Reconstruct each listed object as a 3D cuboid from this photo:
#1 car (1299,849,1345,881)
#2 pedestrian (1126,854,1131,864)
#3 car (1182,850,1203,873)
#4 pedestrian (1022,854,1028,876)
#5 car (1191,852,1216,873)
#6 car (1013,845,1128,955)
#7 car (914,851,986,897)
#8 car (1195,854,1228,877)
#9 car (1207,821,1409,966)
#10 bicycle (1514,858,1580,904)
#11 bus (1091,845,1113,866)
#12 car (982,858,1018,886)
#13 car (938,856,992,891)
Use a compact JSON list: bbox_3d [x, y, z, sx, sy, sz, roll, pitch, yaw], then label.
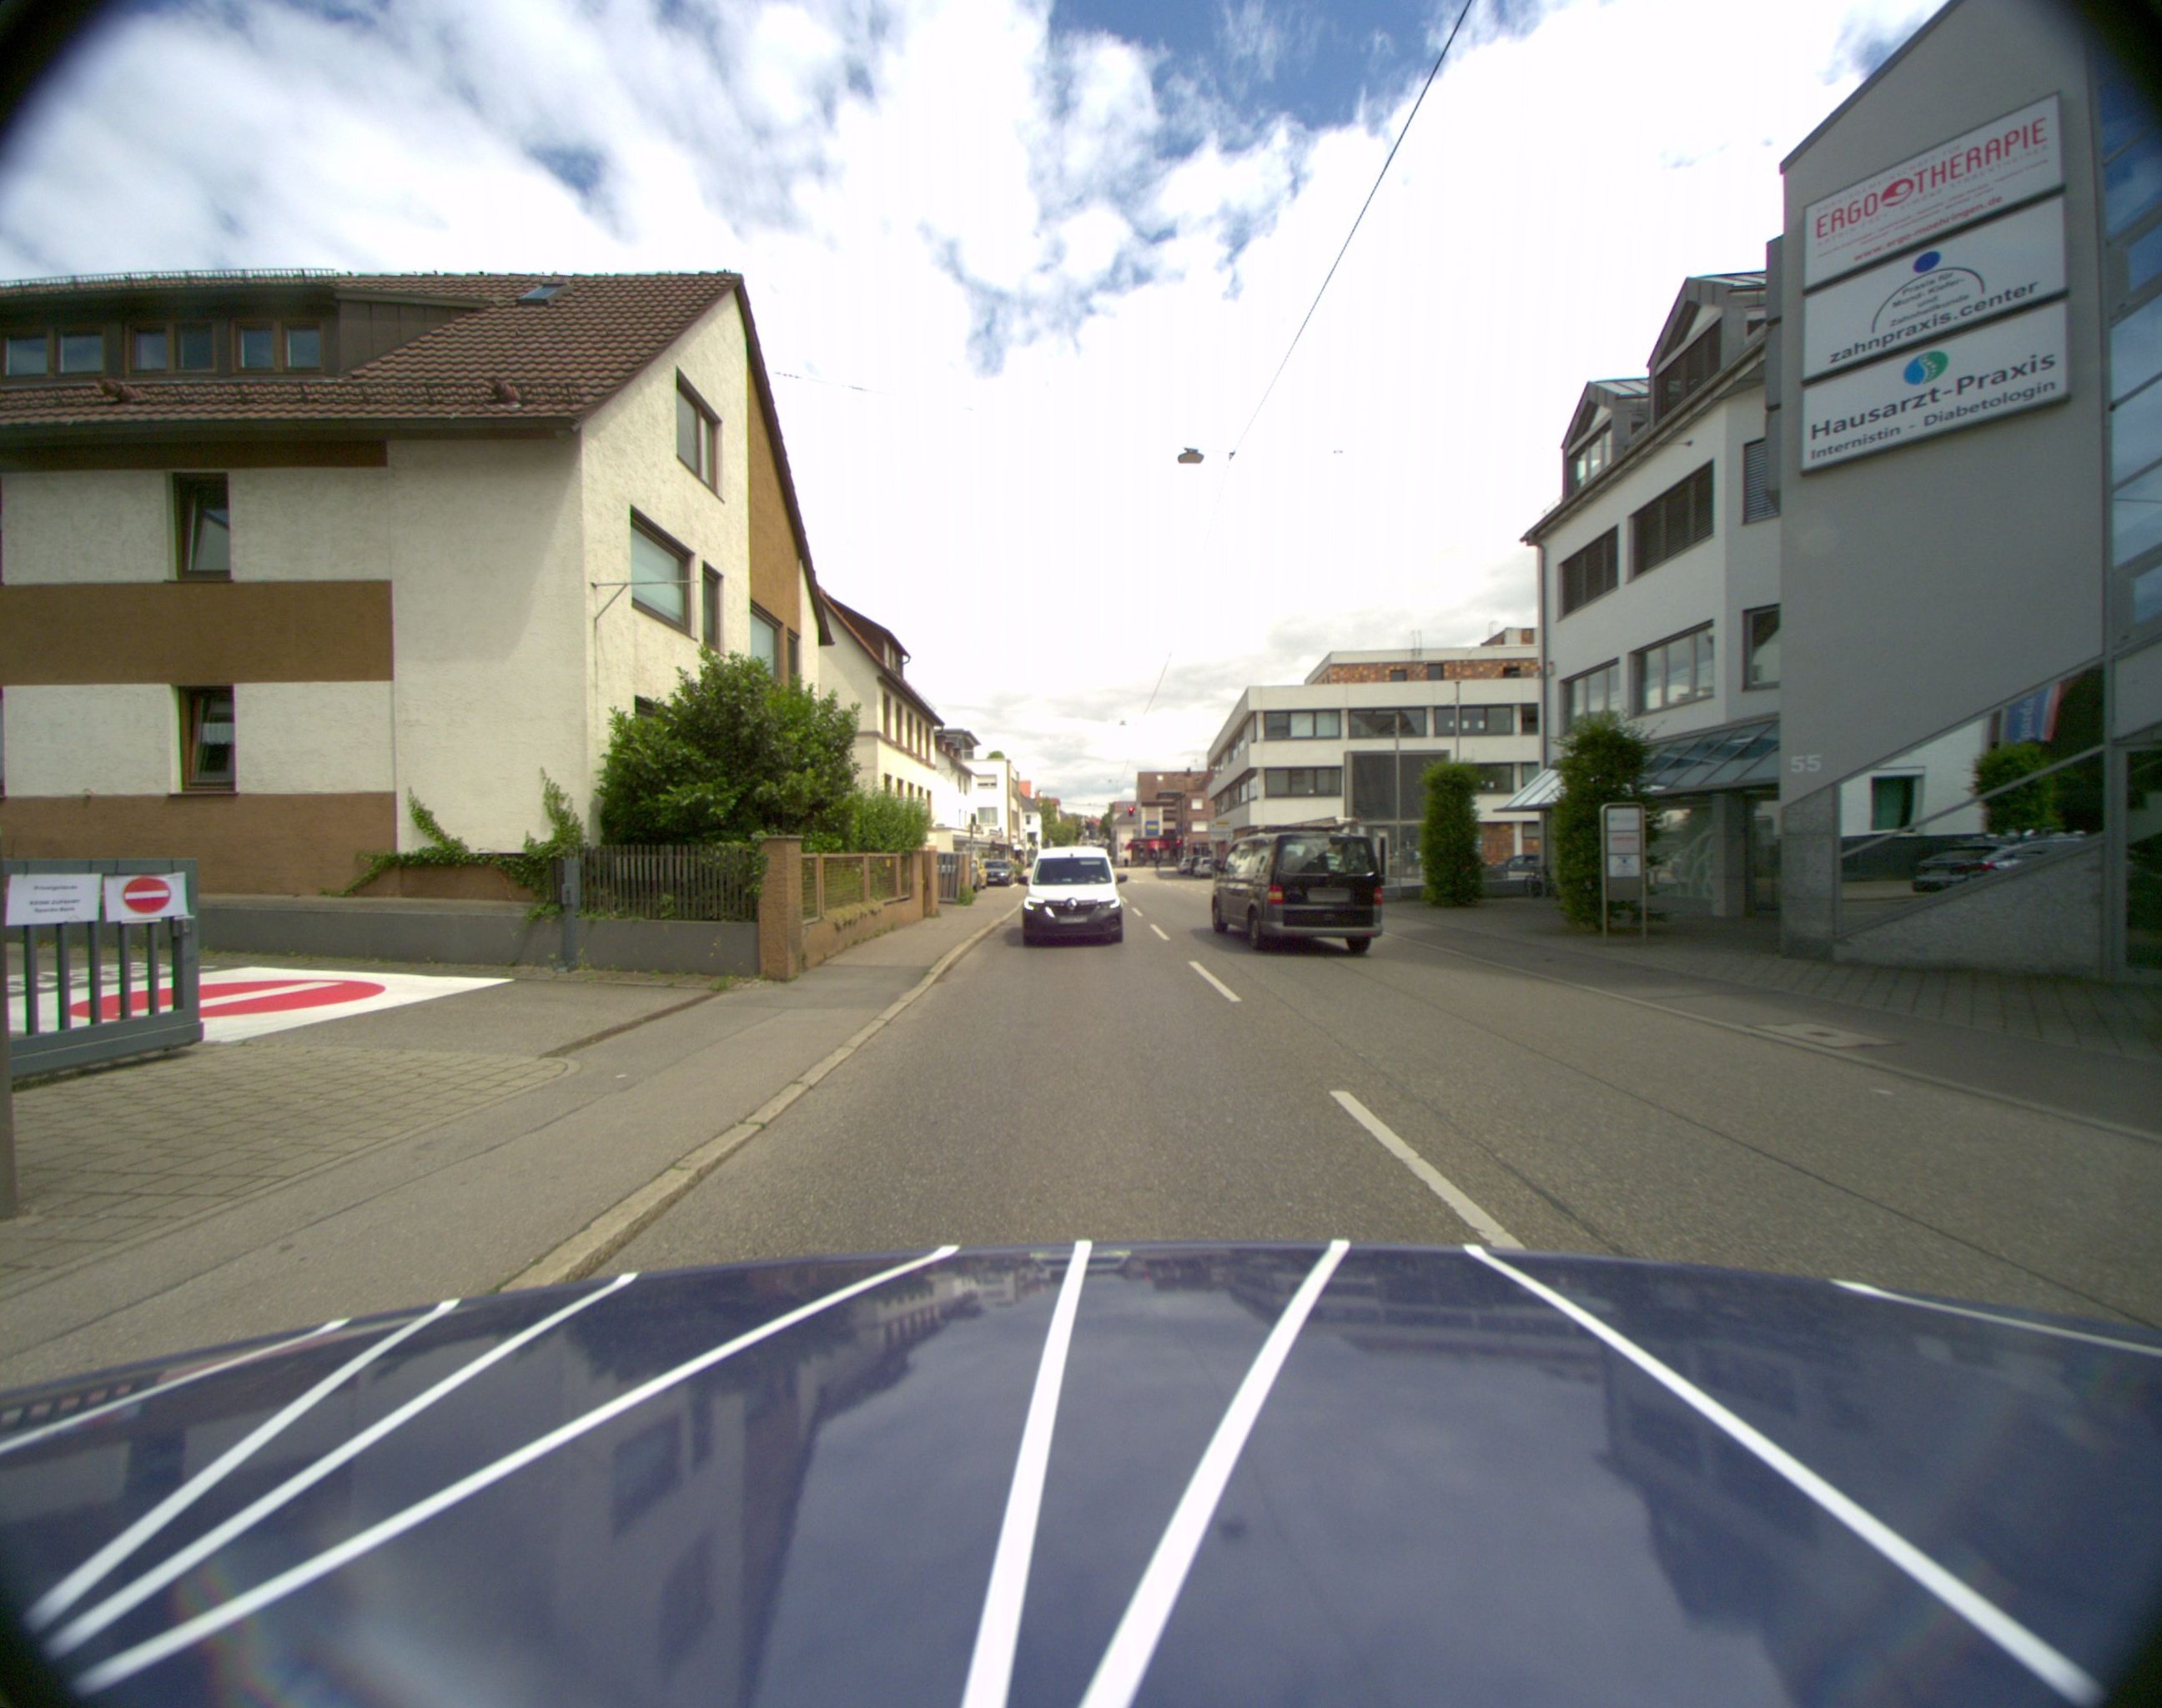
[{"bbox_3d":[13.917,0.593,44.067,1.896,1.687,3.802,1,1,7],"label":"car"},{"bbox_3d":[7.013,0.686,111.776,0.669,1.424,0.778,0,1,5],"label":"pedestrian"},{"bbox_3d":[9.616,0.624,65.661,1.701,1.766,4.463,-2,1,8],"label":"car"},{"bbox_3d":[-5.132,0.983,69.916,0.476,2.010,0.918,0,1,1],"label":"pedestrian"},{"bbox_3d":[9.738,0.674,60.586,1.808,1.521,4.002,-2,1,8],"label":"car"},{"bbox_3d":[-0.105,0.743,15.306,1.870,1.805,5.006,-2,1,2],"label":"car"},{"bbox_3d":[-4.866,0.701,28.760,1.999,1.609,4.100,0,0,0],"label":"car"},{"bbox_3d":[9.217,0.775,53.779,1.839,1.418,4.219,-2,1,4],"label":"car"},{"bbox_3d":[3.776,0.580,13.701,2.116,2.139,4.882,0,0,-1],"label":"car"},{"bbox_3d":[12.569,0.699,20.550,0.644,1.135,1.686,-2,1,-4],"label":"bicycle"},{"bbox_3d":[3.356,0.222,125.562,3.133,3.239,9.749,-2,1,-1],"label":"bus"},{"bbox_3d":[-4.419,0.950,41.955,1.656,1.413,3.999,0,0,-2],"label":"car"},{"bbox_3d":[-5.041,0.827,33.572,1.926,1.404,3.999,0,0,-3],"label":"car"}]
